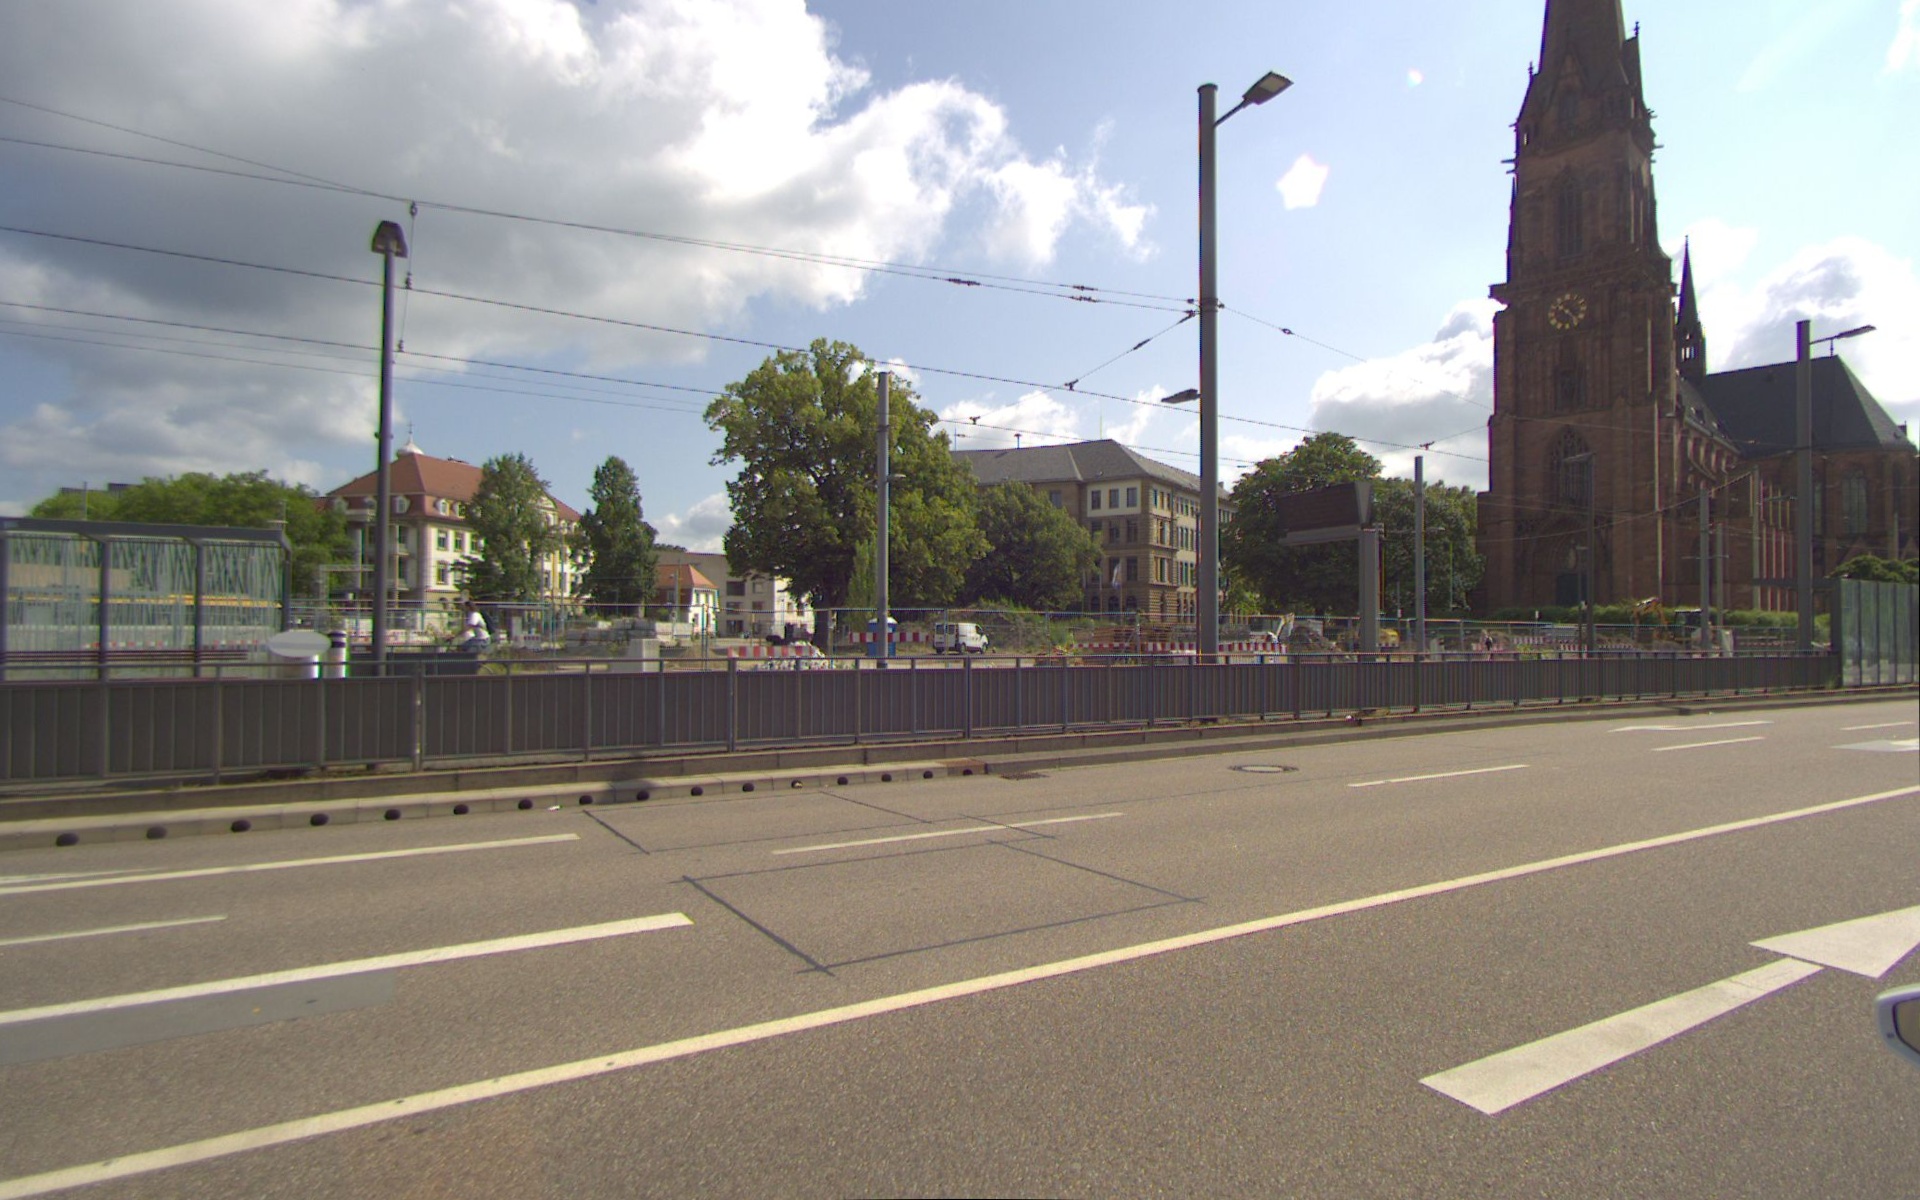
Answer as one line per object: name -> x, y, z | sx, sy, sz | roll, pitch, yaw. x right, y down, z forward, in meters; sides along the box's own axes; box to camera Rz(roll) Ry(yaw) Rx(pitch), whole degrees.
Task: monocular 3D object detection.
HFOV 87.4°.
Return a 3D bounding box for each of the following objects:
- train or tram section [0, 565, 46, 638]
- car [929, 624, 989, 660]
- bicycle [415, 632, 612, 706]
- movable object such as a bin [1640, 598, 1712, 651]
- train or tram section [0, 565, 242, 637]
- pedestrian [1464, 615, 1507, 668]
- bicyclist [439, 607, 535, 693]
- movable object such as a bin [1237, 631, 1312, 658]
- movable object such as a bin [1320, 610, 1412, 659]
train or tram section -> -48.222, 0.110, 45.084 | 3.257, 3.527, 10.614 | -2, 0, 13
car -> -0.009, 2.673, 64.711 | 1.905, 2.166, 4.638 | -1, 0, 28
bicycle -> -9.354, 1.413, 21.169 | 3.653, 1.445, 1.187 | 1, -2, -33
movable object such as a bin -> 44.575, 1.495, 62.512 | 3.948, 3.147, 1.987 | -1, 0, -27
train or tram section -> -45.875, 0.093, 55.392 | 3.257, 3.527, 10.614 | -2, 0, 13
pedestrian -> 20.765, 1.627, 39.698 | 1.037, 2.040, 1.062 | 1, -2, -27
bicyclist -> -9.831, 1.016, 20.864 | 1.666, 1.706, 1.171 | 1, -2, -33
movable object such as a bin -> 18.459, 2.596, 58.777 | 5.119, 1.522, 1.974 | 2, -2, -44
movable object such as a bin -> 25.508, 2.191, 63.269 | 1.982, 2.950, 5.100 | 2, -2, -37
